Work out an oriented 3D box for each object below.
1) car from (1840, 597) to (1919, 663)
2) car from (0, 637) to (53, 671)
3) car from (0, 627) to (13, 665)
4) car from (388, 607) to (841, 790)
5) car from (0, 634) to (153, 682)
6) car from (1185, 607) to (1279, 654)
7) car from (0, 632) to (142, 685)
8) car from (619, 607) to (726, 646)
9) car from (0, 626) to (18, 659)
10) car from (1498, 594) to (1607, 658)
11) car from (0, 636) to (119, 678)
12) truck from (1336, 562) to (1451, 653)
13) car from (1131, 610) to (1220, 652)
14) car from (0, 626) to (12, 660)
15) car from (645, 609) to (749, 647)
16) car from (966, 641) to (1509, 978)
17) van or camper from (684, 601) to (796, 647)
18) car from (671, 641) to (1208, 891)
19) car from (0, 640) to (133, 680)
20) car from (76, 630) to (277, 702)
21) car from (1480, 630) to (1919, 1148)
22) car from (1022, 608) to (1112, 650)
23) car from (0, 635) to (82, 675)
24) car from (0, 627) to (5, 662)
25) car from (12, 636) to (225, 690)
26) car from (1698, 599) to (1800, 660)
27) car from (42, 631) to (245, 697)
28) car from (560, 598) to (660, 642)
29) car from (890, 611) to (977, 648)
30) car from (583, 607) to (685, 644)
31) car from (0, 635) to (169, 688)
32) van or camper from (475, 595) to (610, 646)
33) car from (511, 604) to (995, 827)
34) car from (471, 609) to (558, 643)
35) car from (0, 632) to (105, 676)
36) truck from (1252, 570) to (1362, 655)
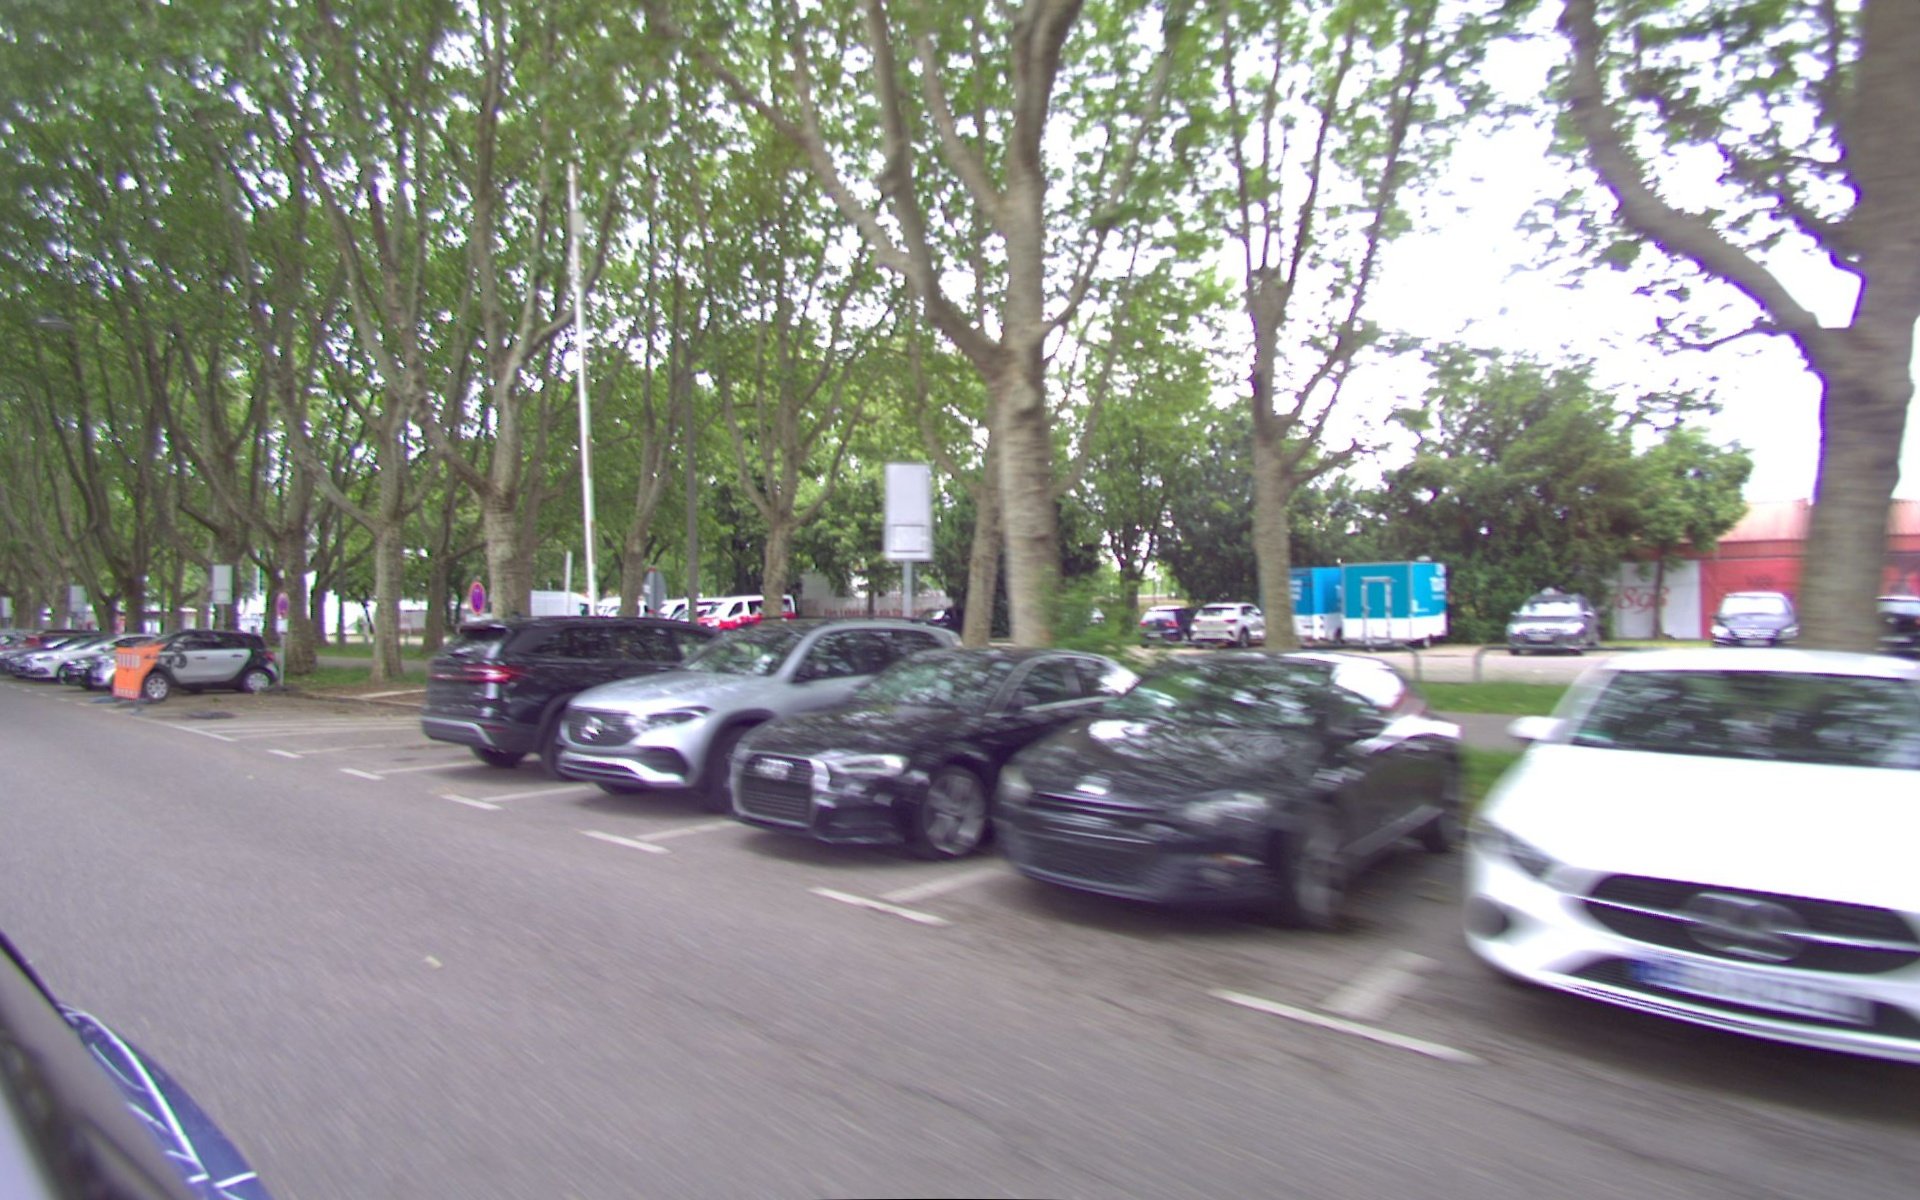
[{"bbox_3d":[22.249,0.680,24.068,1.899,1.407,3.946,-2,-1,40],"label":"car"},{"bbox_3d":[-41.906,2.331,43.624,2.000,1.442,3.944,-3,-4,42],"label":"car"},{"bbox_3d":[-47.993,2.300,47.958,2.001,1.764,4.431,-2,1,45],"label":"car"},{"bbox_3d":[-3.697,0.980,11.359,4.356,1.639,2.049,2,-3,-45],"label":"car"},{"bbox_3d":[-30.057,1.951,34.327,1.873,1.525,3.944,-2,-3,42],"label":"car"},{"bbox_3d":[9.525,1.021,35.259,1.731,1.519,3.948,-1,0,39],"label":"car"},{"bbox_3d":[-28.495,1.826,32.032,1.847,1.581,3.797,-2,-3,42],"label":"car"},{"bbox_3d":[-16.105,1.446,57.015,2.473,2.013,5.400,-1,0,38],"label":"car"},{"bbox_3d":[-54.517,2.411,55.226,2.001,1.764,4.431,-2,1,45],"label":"car"},{"bbox_3d":[16.809,0.688,28.632,1.989,1.674,3.946,-1,0,40],"label":"car"},{"bbox_3d":[-33.919,2.115,37.520,2.000,1.482,3.944,-3,-4,42],"label":"car"},{"bbox_3d":[13.990,0.217,32.552,2.374,2.737,3.948,-1,0,39],"label":"truck"},{"bbox_3d":[7.937,1.094,37.049,1.727,1.387,3.967,-1,0,36],"label":"car"},{"bbox_3d":[-52.285,2.374,52.529,2.001,1.764,4.431,-2,1,45],"label":"car"},{"bbox_3d":[-14.281,1.490,55.281,1.997,1.864,5.400,-1,0,38],"label":"car"},{"bbox_3d":[2.074,0.969,6.494,1.723,1.406,4.363,-2,-3,39],"label":"car"},{"bbox_3d":[-11.730,1.218,54.267,2.327,2.272,5.647,-1,0,40],"label":"van or camper"},{"bbox_3d":[0.131,1.036,8.094,2.044,1.406,4.366,-2,-3,37],"label":"car"},{"bbox_3d":[-31.846,2.094,35.623,2.000,1.320,3.944,-3,-4,42],"label":"car"},{"bbox_3d":[-18.731,1.539,24.290,1.847,1.590,3.518,-2,-3,42],"label":"car"},{"bbox_3d":[3.876,0.879,4.662,1.774,1.435,4.364,-2,-3,39],"label":"car"},{"bbox_3d":[4.288,1.115,40.038,1.797,1.498,3.951,-1,0,36],"label":"car"},{"bbox_3d":[-37.733,2.190,40.296,1.799,1.539,3.986,-3,-4,42],"label":"car"},{"bbox_3d":[-50.898,2.373,50.661,2.001,1.764,4.431,-2,1,45],"label":"car"},{"bbox_3d":[-24.430,1.800,29.512,2.090,1.445,4.515,-2,-3,42],"label":"car"},{"bbox_3d":[20.435,0.734,26.152,1.899,1.407,3.946,-2,-1,40],"label":"car"},{"bbox_3d":[-20.701,1.599,25.768,1.675,1.550,3.797,-2,-3,42],"label":"car"},{"bbox_3d":[-21.444,1.187,62.169,2.390,2.536,5.400,-1,0,38],"label":"car"},{"bbox_3d":[-1.135,1.257,44.608,1.797,1.498,3.951,-1,0,36],"label":"car"},{"bbox_3d":[-19.375,1.507,60.437,2.390,2.036,5.400,-1,0,38],"label":"car"},{"bbox_3d":[-26.478,1.818,30.546,1.847,1.486,3.797,-2,-3,42],"label":"car"},{"bbox_3d":[-18.872,0.879,45.940,2.241,2.115,5.234,-1,0,38],"label":"van or camper"},{"bbox_3d":[-1.733,0.946,9.831,2.044,1.639,4.366,-2,-3,37],"label":"car"},{"bbox_3d":[-30.697,1.745,69.889,1.997,2.159,5.202,-1,0,38],"label":"car"},{"bbox_3d":[-35.825,2.094,39.109,2.000,1.641,3.975,-3,-4,42],"label":"car"},{"bbox_3d":[11.591,0.392,33.697,2.121,2.628,3.945,-1,0,41],"label":"truck"}]
